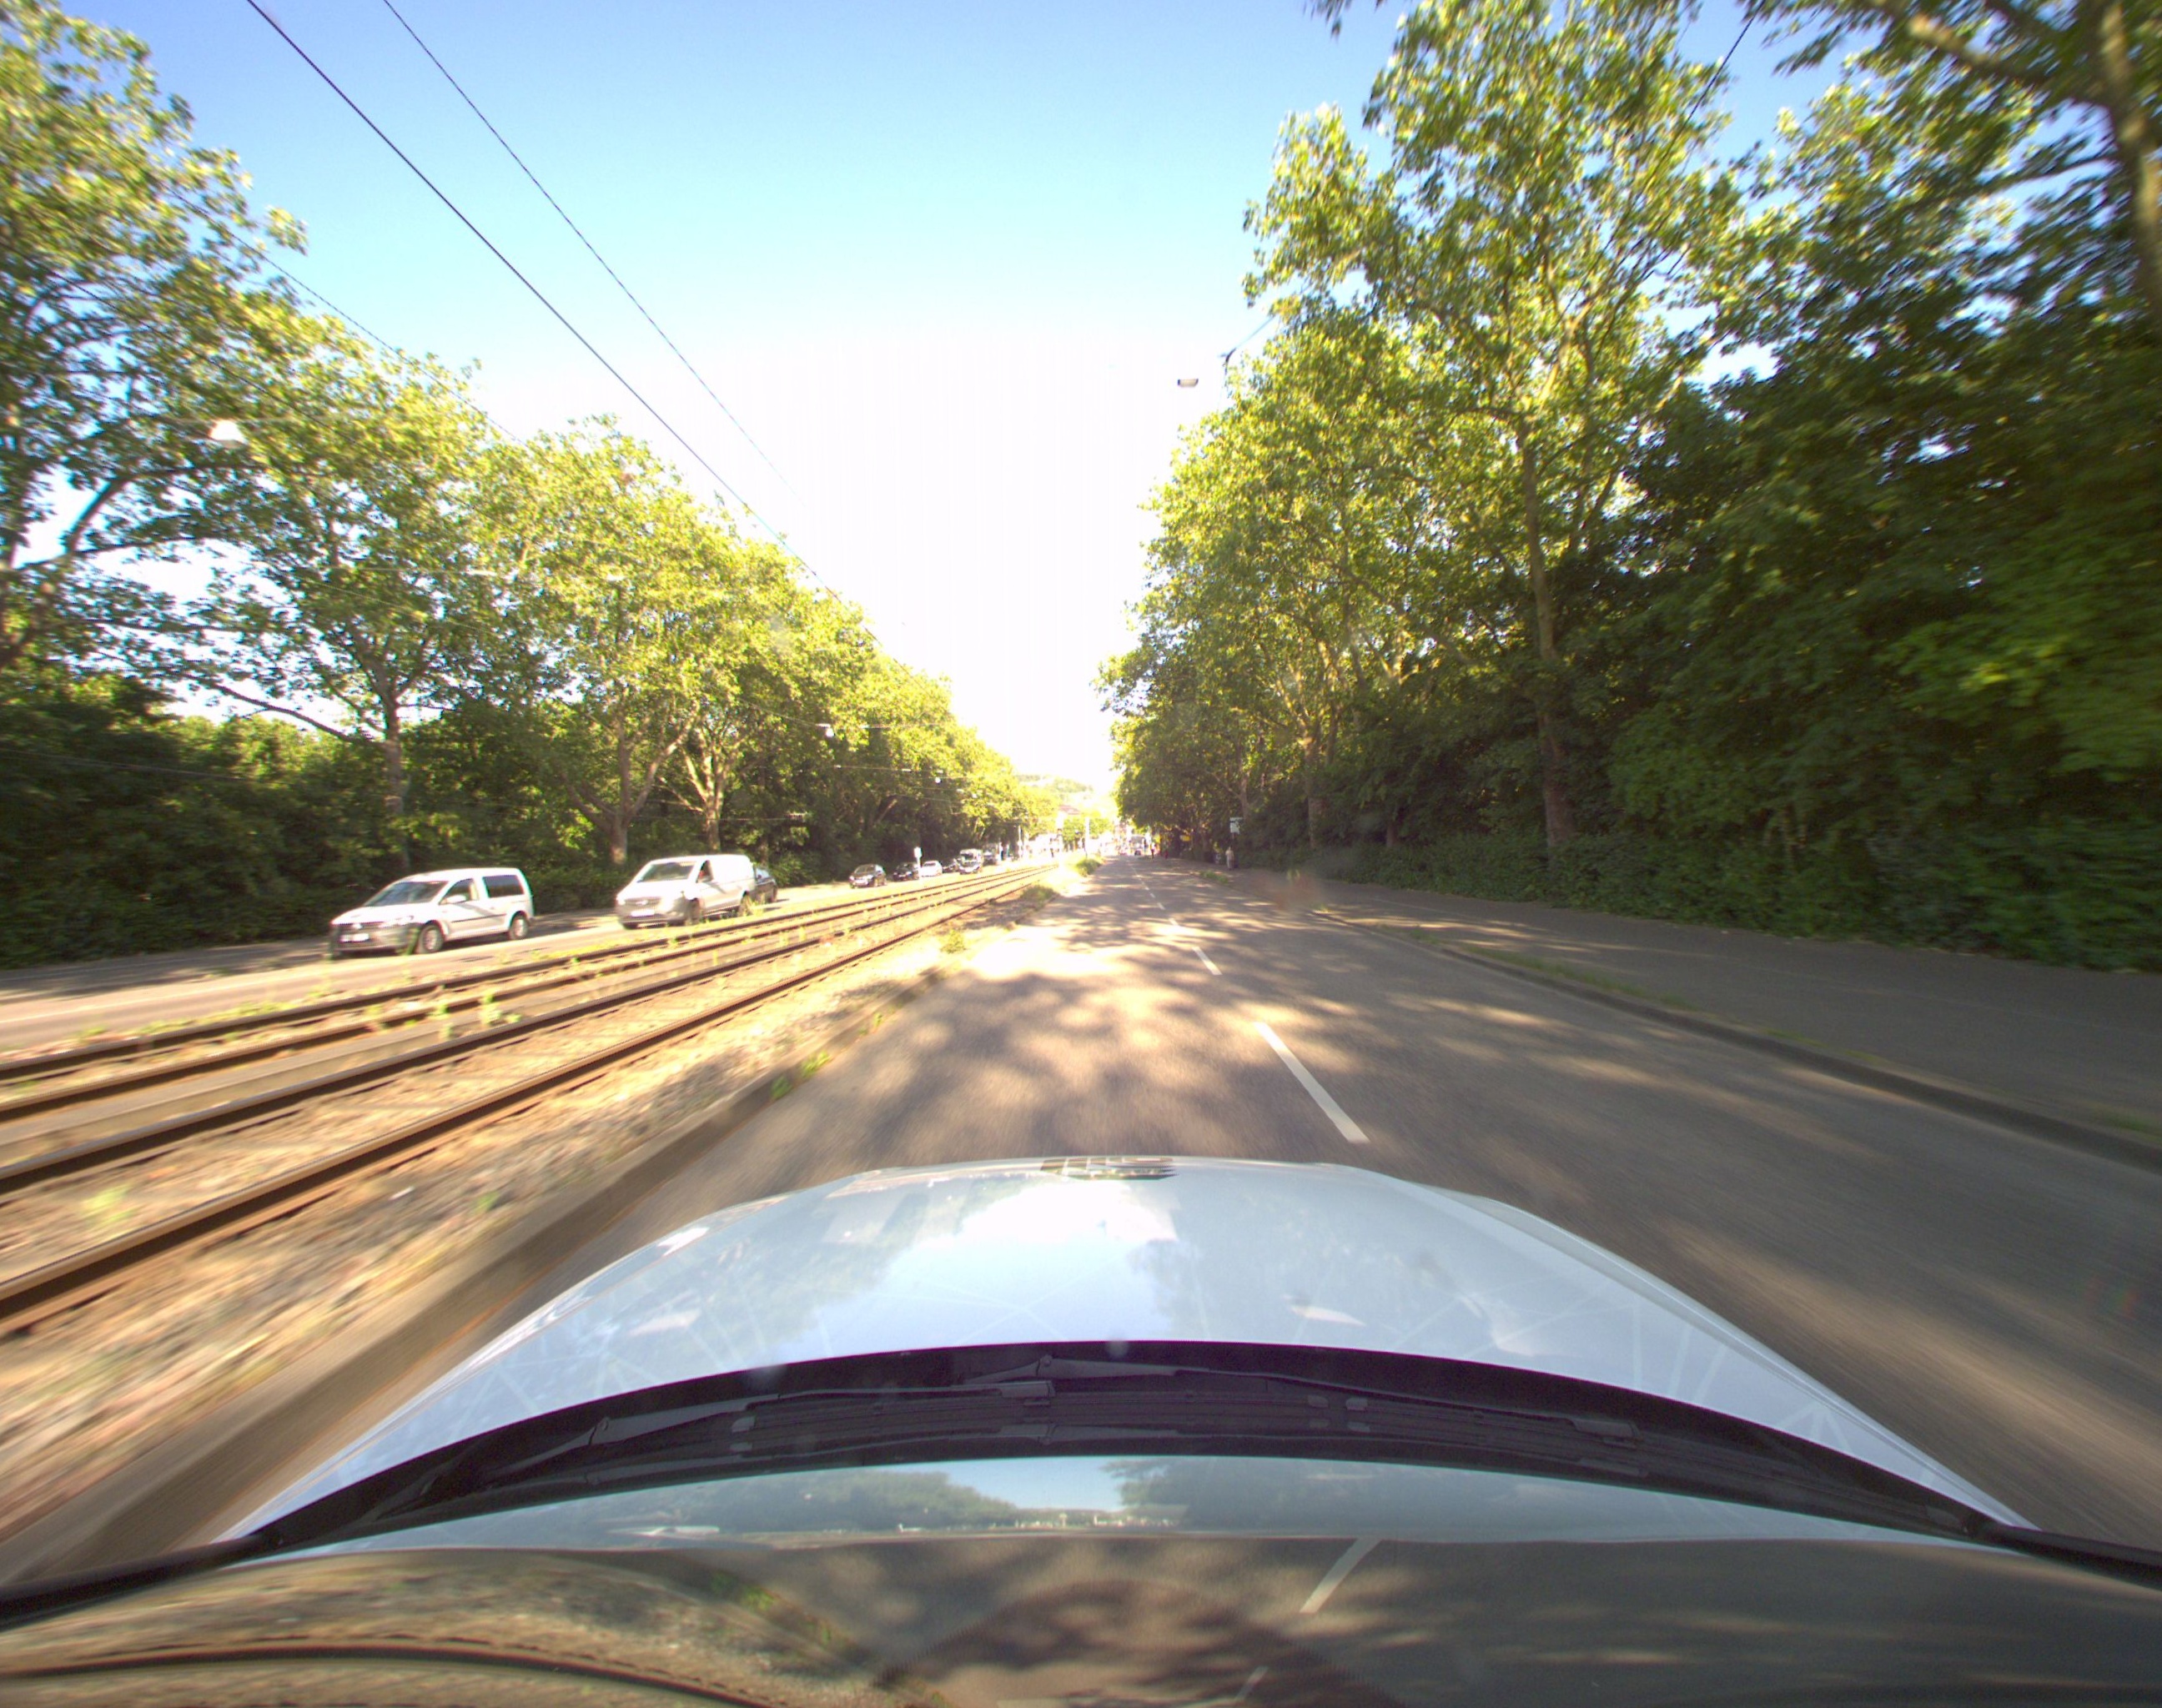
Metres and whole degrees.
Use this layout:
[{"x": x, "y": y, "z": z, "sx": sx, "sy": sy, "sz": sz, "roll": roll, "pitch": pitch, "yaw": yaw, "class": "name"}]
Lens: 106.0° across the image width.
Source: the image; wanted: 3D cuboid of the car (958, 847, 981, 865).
[{"x": -14.334, "y": 0.295, "z": 105.188, "sx": 1.987, "sy": 2.164, "sz": 5.814, "roll": -2, "pitch": 0, "yaw": 0, "class": "car"}]

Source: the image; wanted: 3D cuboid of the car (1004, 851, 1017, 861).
[{"x": -13.077, "y": 0.359, "z": 151.041, "sx": 1.987, "sy": 1.697, "sz": 4.744, "roll": -2, "pitch": 0, "yaw": 0, "class": "car"}]

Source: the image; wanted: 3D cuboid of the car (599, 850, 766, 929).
[{"x": -11.164, "y": 0.909, "z": 23.359, "sx": 1.987, "sy": 1.844, "sz": 5.301, "roll": -5, "pitch": 0, "yaw": 0, "class": "car"}]

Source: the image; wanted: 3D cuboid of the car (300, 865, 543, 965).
[{"x": -14.648, "y": 1.250, "z": 18.519, "sx": 1.736, "sy": 1.743, "sz": 4.512, "roll": -5, "pitch": 1, "yaw": -1, "class": "car"}]

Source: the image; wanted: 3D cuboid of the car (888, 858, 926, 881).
[{"x": -14.169, "y": 1.209, "z": 66.711, "sx": 1.987, "sy": 1.697, "sz": 4.744, "roll": -2, "pitch": 0, "yaw": 0, "class": "car"}]

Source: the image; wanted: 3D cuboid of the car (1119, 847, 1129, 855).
[{"x": 11.254, "y": -0.687, "z": 212.735, "sx": 2.384, "sy": 1.999, "sz": 5.308, "roll": -2, "pitch": 0, "yaw": 2, "class": "car"}]

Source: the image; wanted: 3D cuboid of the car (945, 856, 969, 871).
[{"x": -14.618, "y": 1.100, "z": 96.318, "sx": 1.987, "sy": 1.697, "sz": 4.744, "roll": -2, "pitch": 0, "yaw": 0, "class": "car"}]

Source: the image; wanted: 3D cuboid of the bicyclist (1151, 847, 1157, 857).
[{"x": 12.967, "y": -0.310, "z": 145.120, "sx": 0.883, "sy": 1.774, "sz": 1.223, "roll": -2, "pitch": 0, "yaw": 2, "class": "bicyclist"}]

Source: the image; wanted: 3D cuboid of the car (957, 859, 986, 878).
[{"x": -10.362, "y": 1.345, "z": 77.296, "sx": 1.987, "sy": 1.697, "sz": 4.744, "roll": -2, "pitch": 0, "yaw": 0, "class": "car"}]

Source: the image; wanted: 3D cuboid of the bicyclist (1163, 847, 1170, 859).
[{"x": 12.559, "y": -0.177, "z": 119.163, "sx": 0.883, "sy": 1.638, "sz": 1.165, "roll": -2, "pitch": 0, "yaw": 2, "class": "bicyclist"}]

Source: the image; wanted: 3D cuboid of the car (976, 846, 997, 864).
[{"x": -14.619, "y": 0.156, "z": 126.257, "sx": 2.384, "sy": 2.523, "sz": 5.902, "roll": -2, "pitch": 0, "yaw": 2, "class": "car"}]

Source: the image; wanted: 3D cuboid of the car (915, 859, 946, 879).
[{"x": -14.432, "y": 1.399, "z": 78.177, "sx": 1.987, "sy": 1.697, "sz": 4.744, "roll": -2, "pitch": 0, "yaw": 0, "class": "car"}]

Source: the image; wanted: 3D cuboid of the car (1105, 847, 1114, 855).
[{"x": 7.769, "y": -0.881, "z": 222.467, "sx": 2.384, "sy": 1.999, "sz": 5.308, "roll": -2, "pitch": 0, "yaw": 2, "class": "car"}]

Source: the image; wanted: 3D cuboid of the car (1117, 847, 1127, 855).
[{"x": 11.054, "y": -0.856, "z": 220.404, "sx": 2.384, "sy": 1.999, "sz": 5.308, "roll": -2, "pitch": 0, "yaw": 2, "class": "car"}]

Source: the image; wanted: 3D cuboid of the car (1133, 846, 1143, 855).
[{"x": 14.597, "y": -0.916, "z": 208.227, "sx": 2.384, "sy": 1.999, "sz": 5.308, "roll": -2, "pitch": 0, "yaw": 2, "class": "car"}]

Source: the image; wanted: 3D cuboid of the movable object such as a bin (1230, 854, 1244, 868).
[{"x": 10.703, "y": 0.498, "z": 55.887, "sx": 0.800, "sy": 0.947, "sz": 0.657, "roll": -2, "pitch": 0, "yaw": 5, "class": "movable object such as a bin"}]

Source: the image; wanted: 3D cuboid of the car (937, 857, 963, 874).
[{"x": -14.384, "y": 1.249, "z": 89.530, "sx": 1.987, "sy": 1.697, "sz": 4.744, "roll": -2, "pitch": 0, "yaw": 0, "class": "car"}]

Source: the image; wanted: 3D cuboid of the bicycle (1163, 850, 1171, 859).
[{"x": 12.559, "y": 0.069, "z": 119.064, "sx": 0.883, "sy": 1.321, "sz": 2.641, "roll": -2, "pitch": 0, "yaw": 2, "class": "bicycle"}]

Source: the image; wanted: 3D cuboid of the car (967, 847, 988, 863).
[{"x": -14.189, "y": 0.144, "z": 111.914, "sx": 1.987, "sy": 2.164, "sz": 5.814, "roll": -2, "pitch": 0, "yaw": 0, "class": "car"}]

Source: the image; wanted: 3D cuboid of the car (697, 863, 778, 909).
[{"x": -14.123, "y": 1.262, "z": 33.713, "sx": 1.738, "sy": 1.636, "sz": 3.996, "roll": -3, "pitch": 0, "yaw": -3, "class": "car"}]

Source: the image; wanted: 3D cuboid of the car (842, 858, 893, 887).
[{"x": -14.031, "y": 1.196, "z": 53.784, "sx": 1.987, "sy": 1.697, "sz": 4.744, "roll": -2, "pitch": 0, "yaw": 0, "class": "car"}]

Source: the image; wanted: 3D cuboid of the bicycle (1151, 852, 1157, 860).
[{"x": 12.987, "y": 0.352, "z": 145.204, "sx": 0.883, "sy": 1.321, "sz": 2.641, "roll": -2, "pitch": 0, "yaw": 2, "class": "bicycle"}]

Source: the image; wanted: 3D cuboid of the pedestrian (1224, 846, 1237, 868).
[{"x": 10.387, "y": 0.203, "z": 56.698, "sx": 0.800, "sy": 1.546, "sz": 0.815, "roll": -2, "pitch": 0, "yaw": 5, "class": "pedestrian"}]
